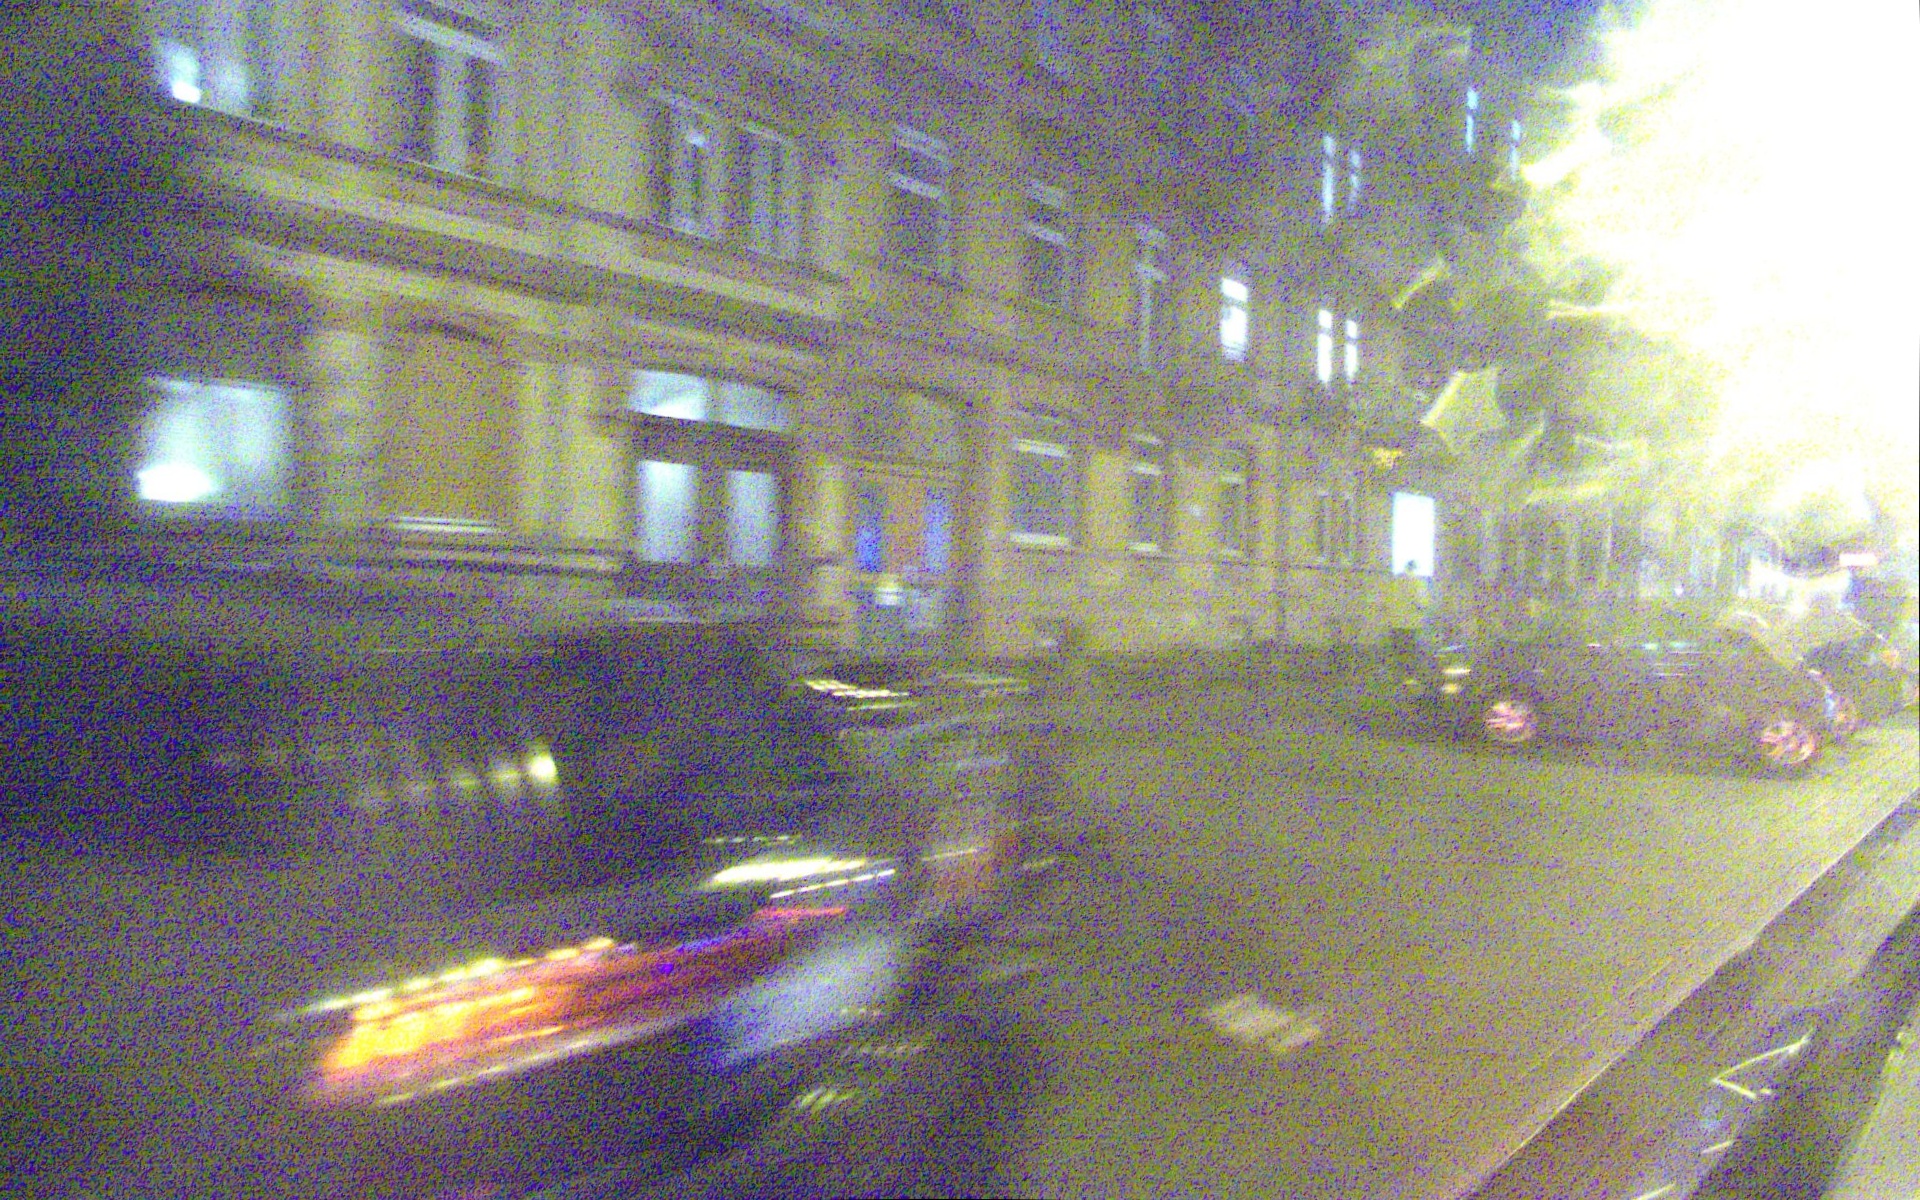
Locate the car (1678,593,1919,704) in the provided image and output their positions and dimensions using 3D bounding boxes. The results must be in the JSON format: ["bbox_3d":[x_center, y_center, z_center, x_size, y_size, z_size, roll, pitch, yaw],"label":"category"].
[{"bbox_3d":[13.531,0.718,15.582,3.631,1.478,1.597,2,2,15],"label":"car"}]

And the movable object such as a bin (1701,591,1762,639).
[{"bbox_3d":[24.557,0.462,32.215,0.981,1.388,1.259,1,5,-40],"label":"movable object such as a bin"}]

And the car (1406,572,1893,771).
[{"bbox_3d":[6.579,0.591,10.110,3.602,1.600,1.585,3,2,16],"label":"car"}]

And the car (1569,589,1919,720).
[{"bbox_3d":[10.754,0.681,14.136,3.610,1.600,1.581,1,0,22],"label":"car"}]

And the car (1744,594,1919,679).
[{"bbox_3d":[18.887,0.730,20.771,3.943,1.571,1.796,2,2,15],"label":"car"}]

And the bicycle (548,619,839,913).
[{"bbox_3d":[-1.191,0.678,4.954,0.441,1.089,1.817,2,1,18],"label":"bicycle"}]

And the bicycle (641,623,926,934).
[{"bbox_3d":[-0.725,0.698,4.781,0.513,1.089,1.817,2,1,18],"label":"bicycle"}]

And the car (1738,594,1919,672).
[{"bbox_3d":[20.461,0.727,22.916,3.939,1.571,1.993,2,2,12],"label":"car"}]

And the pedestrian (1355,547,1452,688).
[{"bbox_3d":[6.269,0.223,14.311,0.976,1.878,0.870,1,2,-43],"label":"pedestrian"}]

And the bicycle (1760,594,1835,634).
[{"bbox_3d":[31.590,0.523,38.202,0.767,1.351,1.980,1,3,-34],"label":"bicycle"}]

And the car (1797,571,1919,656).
[{"bbox_3d":[26.948,0.387,28.556,4.656,2.275,1.939,2,1,14],"label":"car"}]

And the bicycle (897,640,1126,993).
[{"bbox_3d":[0.311,0.781,4.423,0.513,1.089,1.817,2,1,18],"label":"bicycle"}]

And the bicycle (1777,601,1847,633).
[{"bbox_3d":[32.810,0.642,38.989,1.972,1.067,0.502,5,4,44],"label":"bicycle"}]

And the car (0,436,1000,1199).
[{"bbox_3d":[-2.051,0.461,2.567,3.950,1.511,1.724,3,2,20],"label":"car"}]

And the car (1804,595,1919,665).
[{"bbox_3d":[22.936,0.730,24.377,3.608,1.561,1.550,2,2,20],"label":"car"}]

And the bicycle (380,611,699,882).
[{"bbox_3d":[-2.063,0.638,5.265,0.441,1.089,1.817,2,1,18],"label":"bicycle"}]

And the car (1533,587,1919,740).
[{"bbox_3d":[9.015,0.673,11.899,3.595,1.600,1.587,1,0,11],"label":"car"}]

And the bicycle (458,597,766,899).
[{"bbox_3d":[-1.634,0.606,5.102,0.441,1.206,1.817,2,1,18],"label":"bicycle"}]

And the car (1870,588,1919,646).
[{"bbox_3d":[33.809,0.656,34.126,4.186,1.881,1.710,3,2,15],"label":"car"}]

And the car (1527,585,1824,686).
[{"bbox_3d":[12.611,0.571,18.155,3.950,1.470,1.678,3,2,19],"label":"car"}]

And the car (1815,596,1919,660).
[{"bbox_3d":[24.951,0.740,26.611,3.350,1.561,1.571,2,2,14],"label":"car"}]

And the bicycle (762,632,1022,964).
[{"bbox_3d":[-0.211,0.748,4.600,0.513,1.089,1.817,2,1,18],"label":"bicycle"}]
